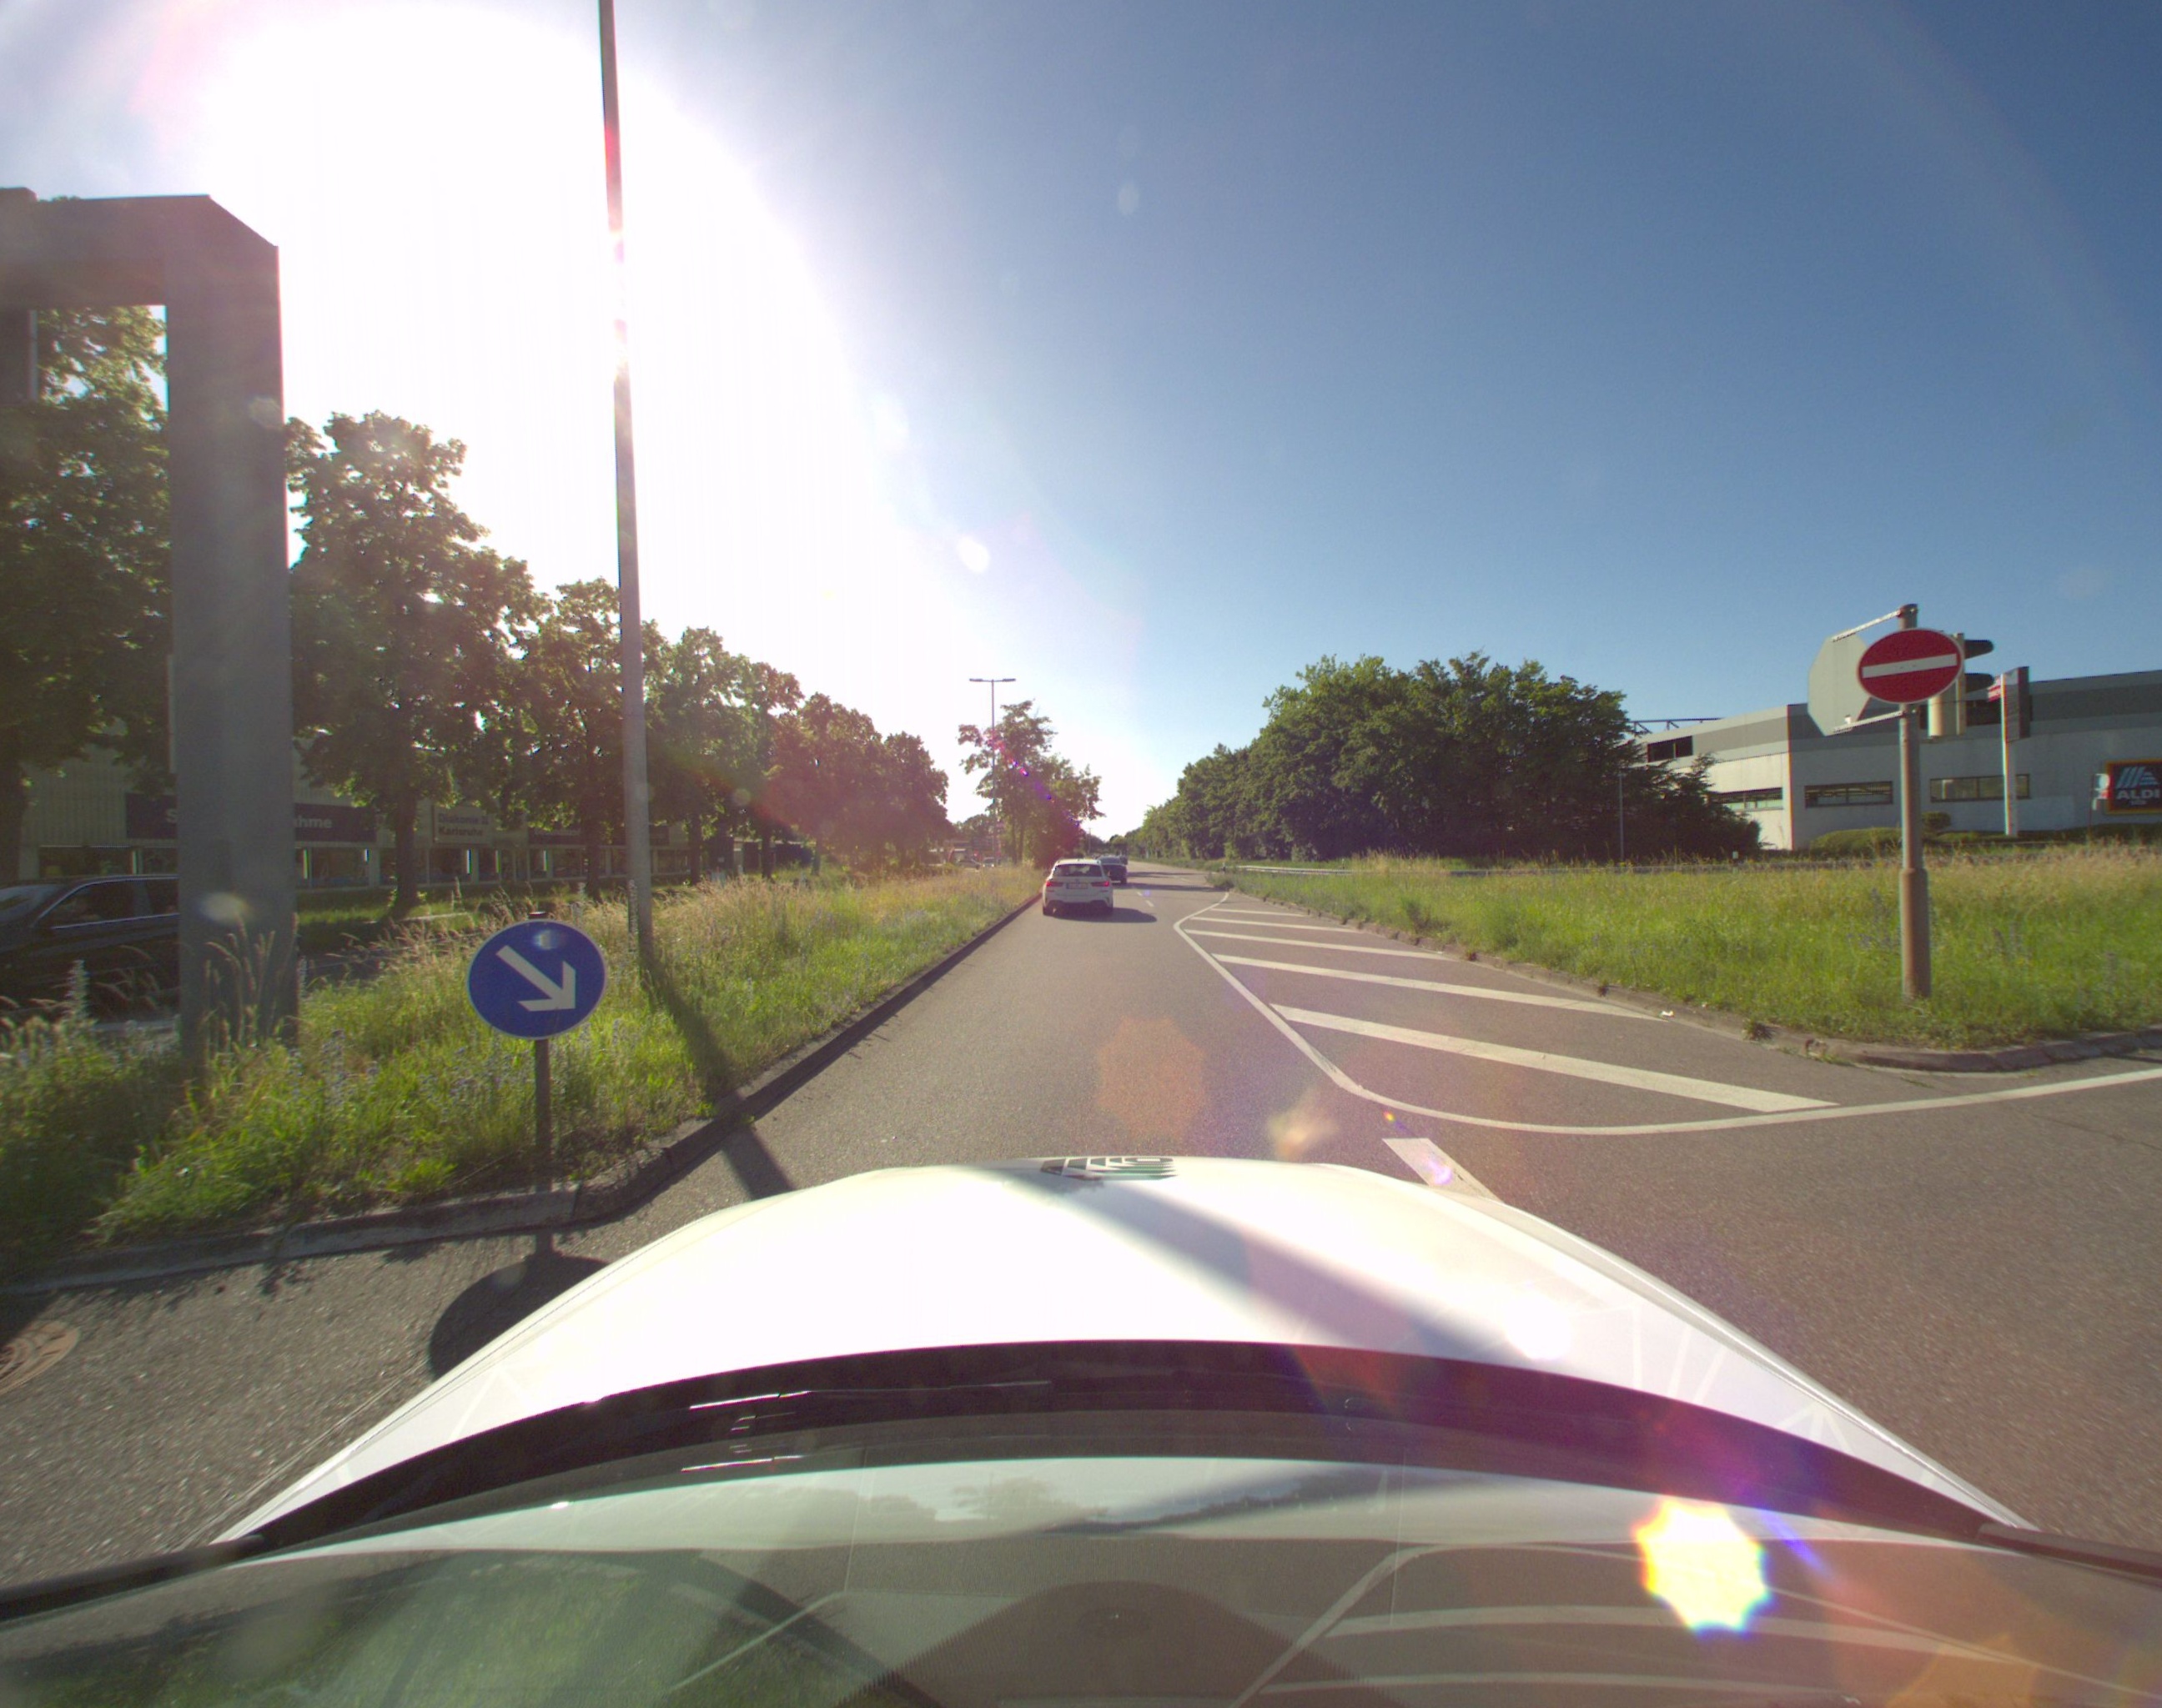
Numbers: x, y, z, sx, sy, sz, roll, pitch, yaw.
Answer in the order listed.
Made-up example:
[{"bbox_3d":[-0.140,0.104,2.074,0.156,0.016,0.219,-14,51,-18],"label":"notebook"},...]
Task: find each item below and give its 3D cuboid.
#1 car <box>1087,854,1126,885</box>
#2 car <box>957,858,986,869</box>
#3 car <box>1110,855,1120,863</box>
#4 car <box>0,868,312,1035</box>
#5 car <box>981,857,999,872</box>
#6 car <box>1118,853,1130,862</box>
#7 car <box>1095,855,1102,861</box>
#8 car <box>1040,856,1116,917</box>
[{"bbox_3d":[1.311,0.769,42.599,1.855,1.455,4.548,-2,0,1],"label":"car"},{"bbox_3d":[-17.162,1.479,127.453,4.085,1.662,1.898,-2,0,10],"label":"car"},{"bbox_3d":[6.903,1.079,164.177,1.766,1.555,3.832,-2,0,-1],"label":"car"},{"bbox_3d":[-12.468,1.125,9.770,1.935,1.697,4.630,-3,0,1],"label":"car"},{"bbox_3d":[-10.759,1.211,96.373,1.701,1.746,4.165,-1,0,0],"label":"car"},{"bbox_3d":[7.034,0.584,134.215,1.855,1.499,4.337,-1,0,1],"label":"car"},{"bbox_3d":[4.774,0.944,220.643,1.855,1.565,4.548,-1,0,1],"label":"car"},{"bbox_3d":[-0.014,0.798,22.290,1.855,1.455,4.549,-1,0,1],"label":"car"}]
